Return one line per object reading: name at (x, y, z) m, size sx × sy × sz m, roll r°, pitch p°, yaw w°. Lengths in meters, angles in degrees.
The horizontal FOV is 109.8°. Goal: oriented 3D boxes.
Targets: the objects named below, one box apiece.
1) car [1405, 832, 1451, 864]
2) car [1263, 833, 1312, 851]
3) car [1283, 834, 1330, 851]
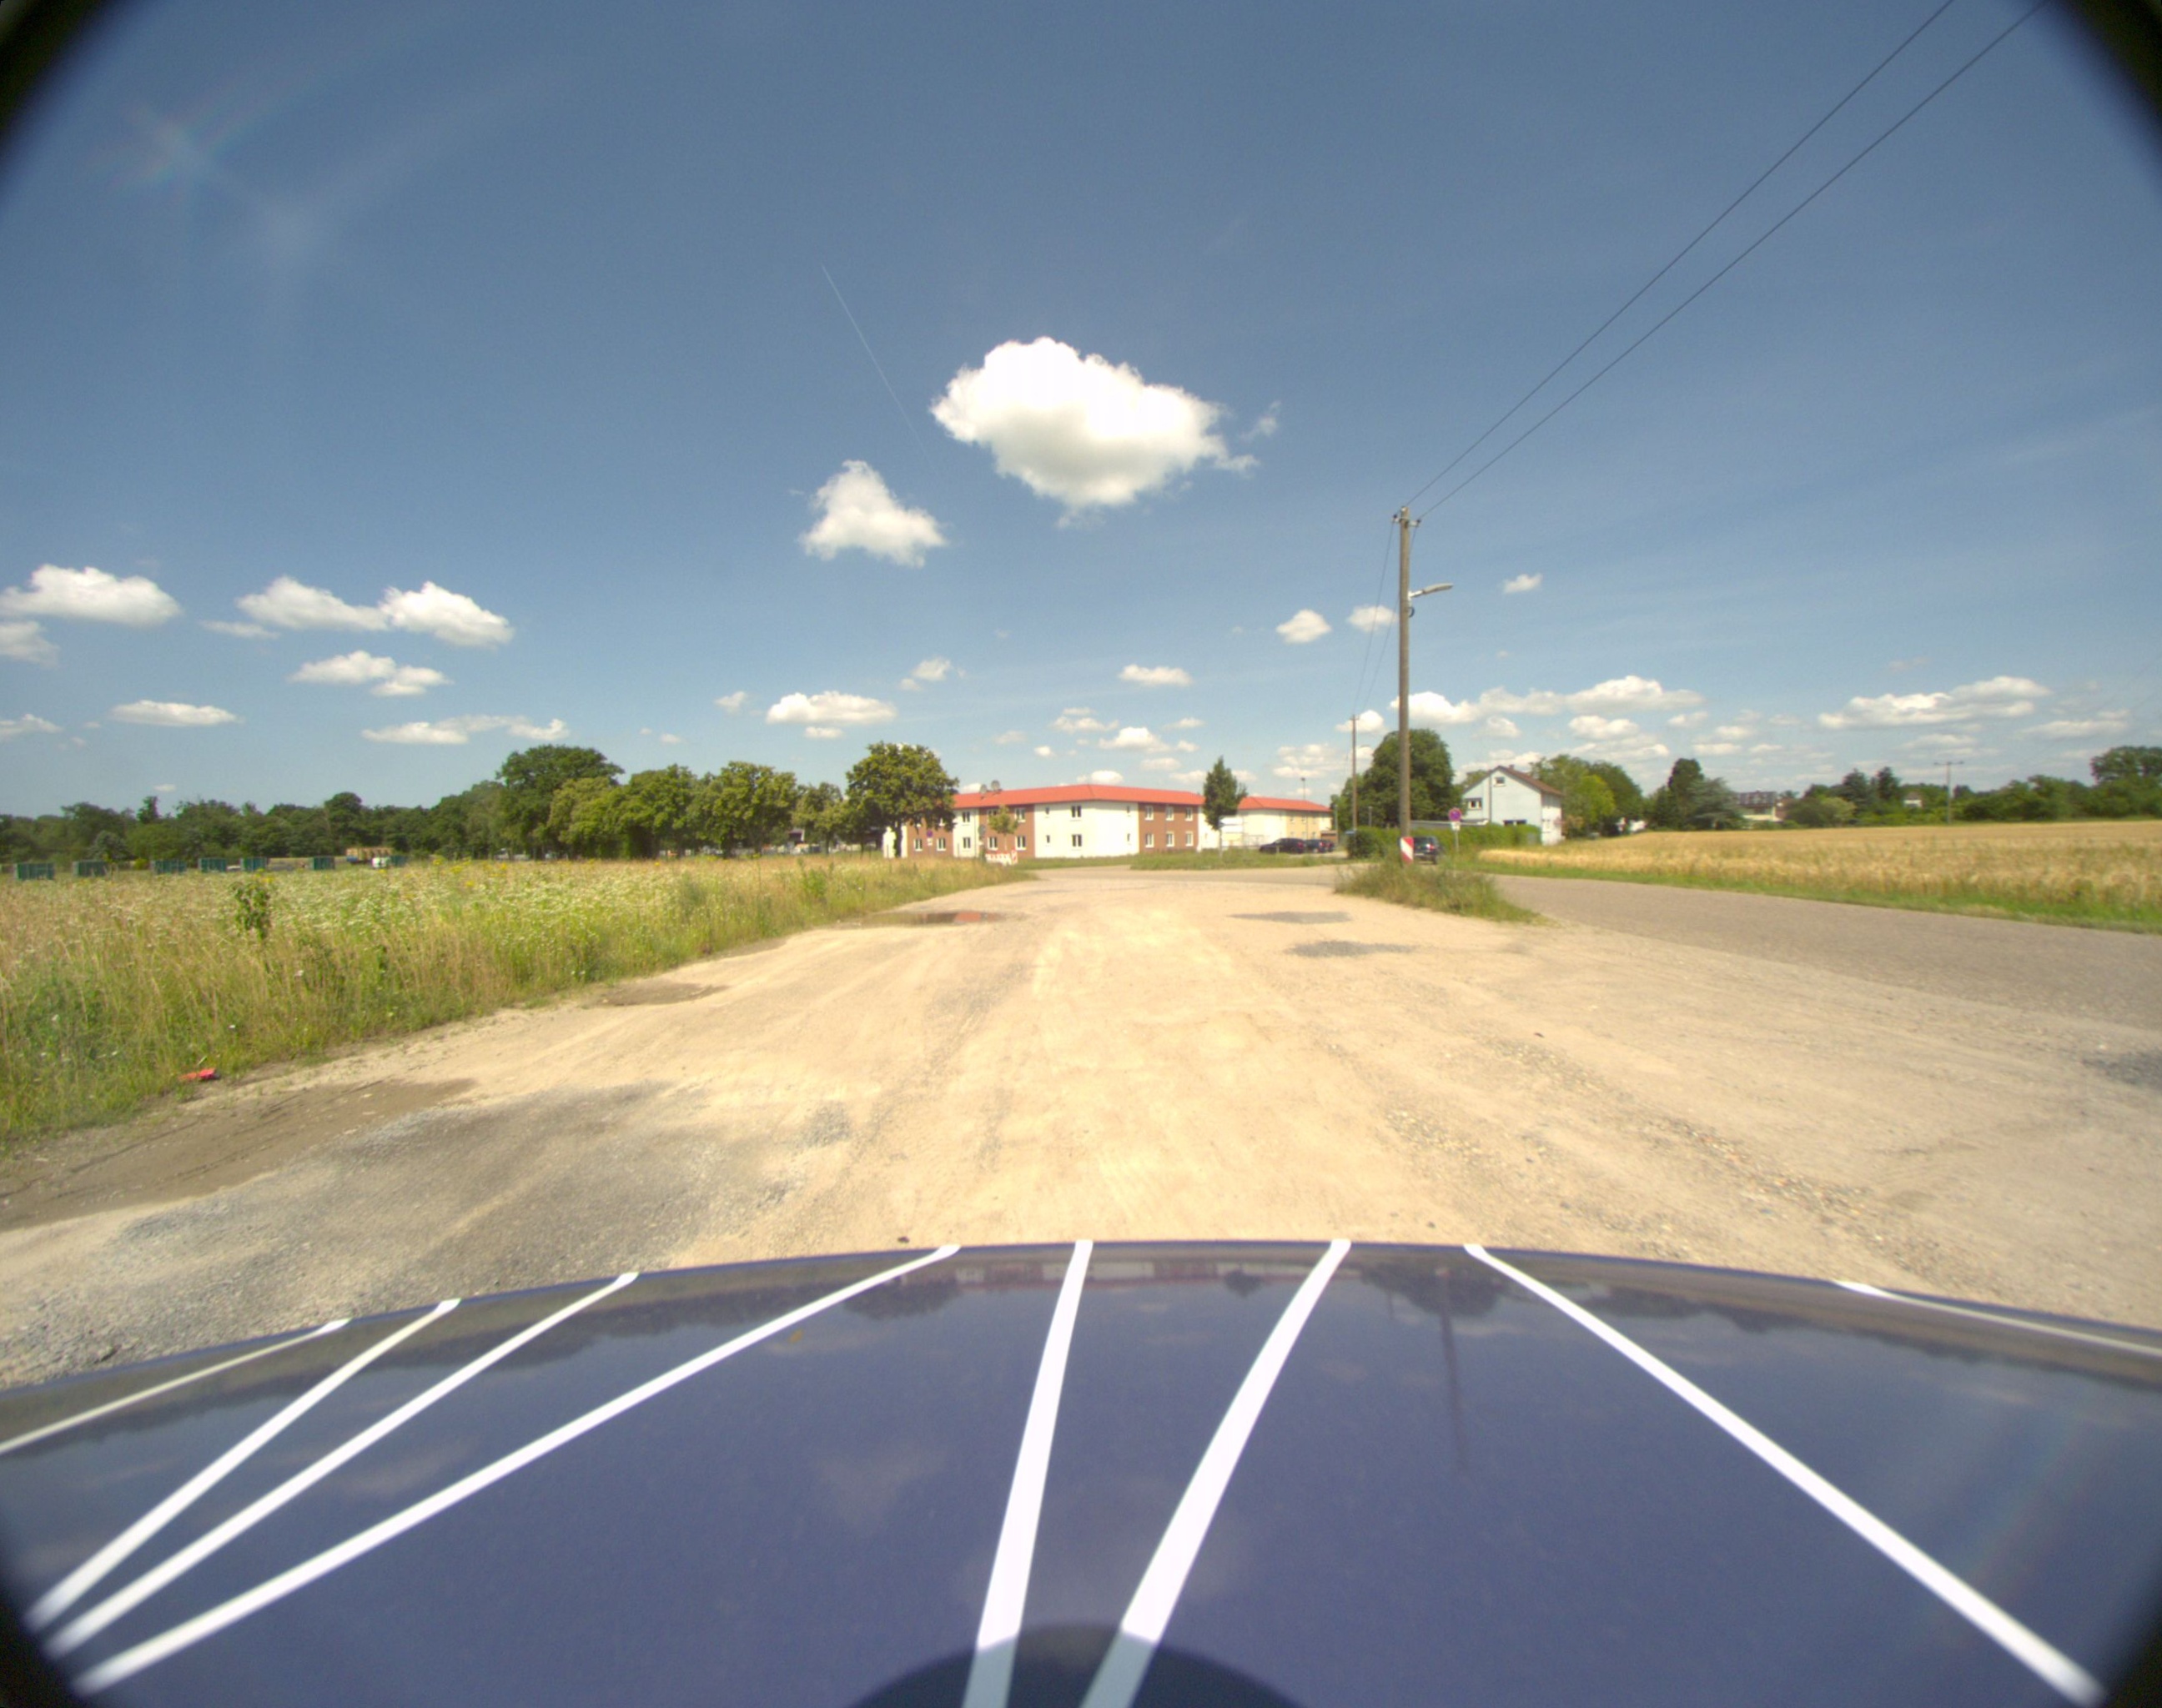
car at (20.206, -0.378, 44.173) m, size 1.745 × 1.670 × 4.262 m, roll -1°, pitch 2°, yaw 34°
car at (20.114, -1.156, 73.985) m, size 4.136 × 1.605 × 2.004 m, roll 0°, pitch 1°, yaw 38°
car at (22.802, -1.139, 76.889) m, size 4.136 × 1.605 × 2.004 m, roll 0°, pitch 1°, yaw 38°
